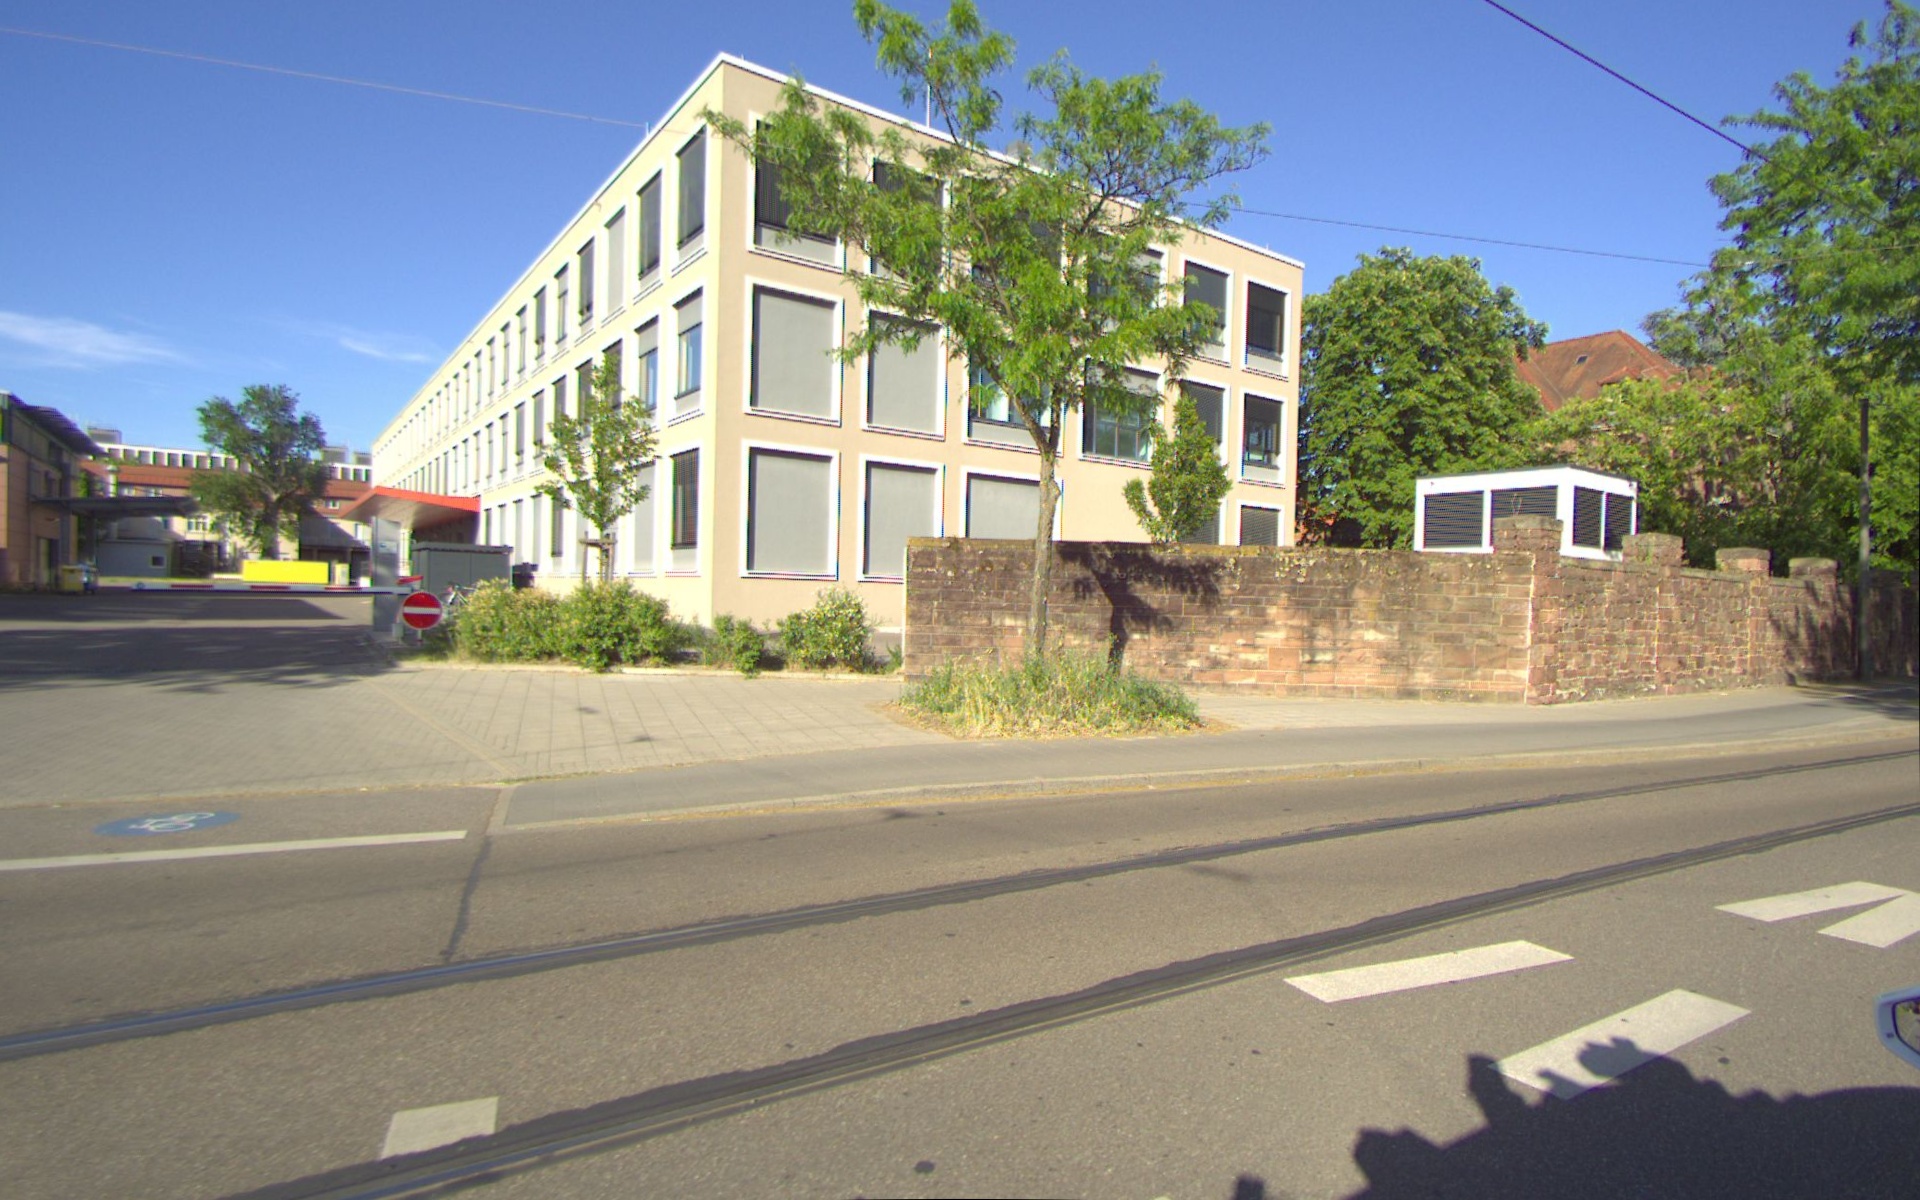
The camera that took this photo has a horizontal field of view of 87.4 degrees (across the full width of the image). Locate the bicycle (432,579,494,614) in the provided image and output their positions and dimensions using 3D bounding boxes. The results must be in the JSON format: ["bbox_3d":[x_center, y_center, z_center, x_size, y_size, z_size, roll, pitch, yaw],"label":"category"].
[{"bbox_3d":[-15.707,-0.098,31.790,1.687,1.075,0.456,1,1,-40],"label":"bicycle"}]

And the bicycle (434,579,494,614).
[{"bbox_3d":[-16.041,-0.112,32.476,1.671,1.075,0.456,1,1,-37],"label":"bicycle"}]

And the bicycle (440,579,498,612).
[{"bbox_3d":[-16.323,-0.140,33.383,1.671,1.076,0.456,0,3,-38],"label":"bicycle"}]
